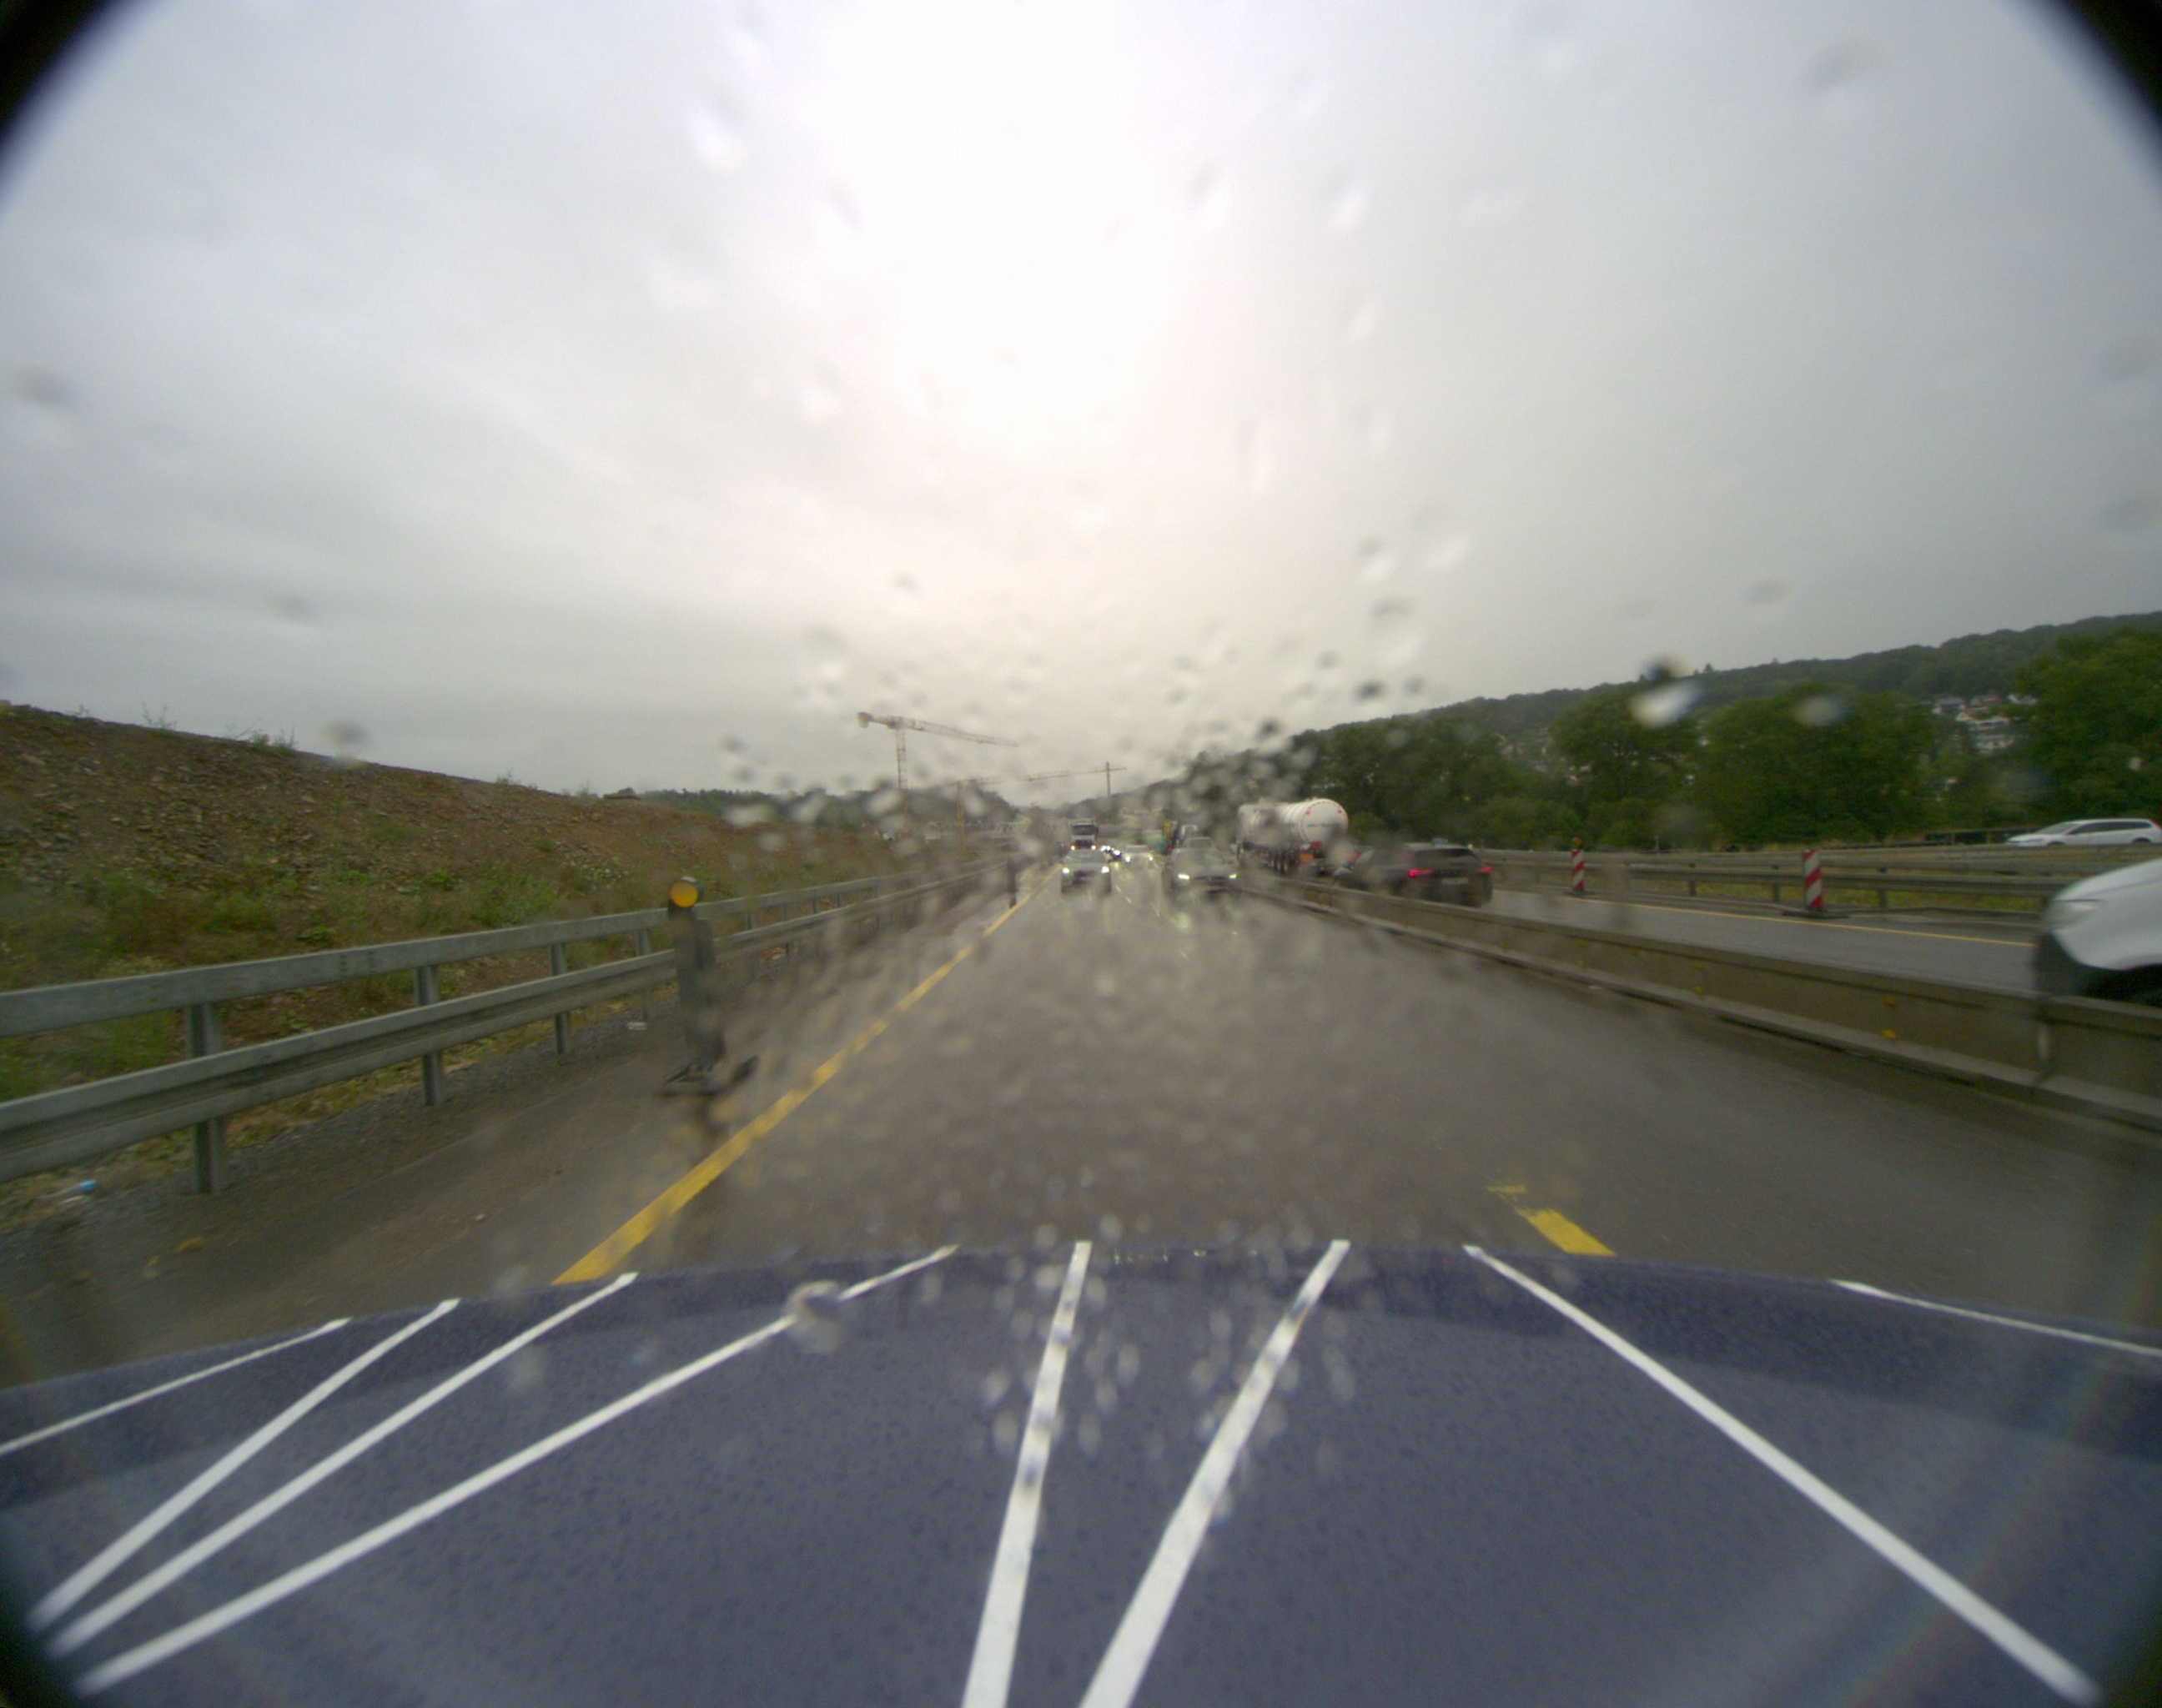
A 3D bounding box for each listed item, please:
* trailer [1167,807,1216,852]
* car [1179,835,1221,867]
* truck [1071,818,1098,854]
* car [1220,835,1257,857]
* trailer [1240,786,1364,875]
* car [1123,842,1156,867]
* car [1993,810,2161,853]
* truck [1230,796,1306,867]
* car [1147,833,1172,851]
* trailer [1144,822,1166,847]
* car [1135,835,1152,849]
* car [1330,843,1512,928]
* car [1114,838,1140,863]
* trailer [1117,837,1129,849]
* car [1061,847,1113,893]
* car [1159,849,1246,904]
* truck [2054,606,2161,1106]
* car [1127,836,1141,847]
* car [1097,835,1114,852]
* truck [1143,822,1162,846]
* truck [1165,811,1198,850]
[{"bbox_3d":[10.877,-2.390,76.419,2.756,4.019,15.355,-2,1,1],"label":"trailer"},{"bbox_3d":[7.129,-0.233,45.884,1.870,1.790,4.162,-2,1,0],"label":"car"},{"bbox_3d":[0.418,-1.821,77.503,2.575,3.451,6.625,-2,2,1],"label":"truck"},{"bbox_3d":[15.447,-0.781,74.846,2.071,2.051,4.838,-2,1,-8],"label":"car"},{"bbox_3d":[10.513,-1.117,37.803,2.627,3.657,12.000,-2,1,0],"label":"trailer"},{"bbox_3d":[3.672,0.020,48.244,1.781,1.430,4.483,-2,1,1],"label":"car"},{"bbox_3d":[44.195,-0.989,33.395,5.035,1.690,1.852,-1,2,17],"label":"car"},{"bbox_3d":[10.519,-1.252,43.385,2.627,3.657,6.593,-2,1,0],"label":"truck"},{"bbox_3d":[7.705,-1.194,75.324,1.998,1.749,4.687,-2,1,1],"label":"car"},{"bbox_3d":[11.979,-3.225,124.140,2.692,3.941,9.817,0,1,1],"label":"trailer"},{"bbox_3d":[7.993,-1.573,96.969,1.791,1.795,5.188,0,2,1],"label":"car"},{"bbox_3d":[6.937,0.547,16.127,1.777,1.496,4.678,-1,1,0],"label":"car"},{"bbox_3d":[3.858,-0.292,63.571,1.998,2.002,4.001,-1,1,5],"label":"car"},{"bbox_3d":[14.108,-3.724,255.330,3.285,3.886,13.698,-2,0,1],"label":"trailer"},{"bbox_3d":[0.253,0.539,28.976,1.781,1.514,4.139,-2,2,1],"label":"car"},{"bbox_3d":[3.496,0.593,22.741,1.951,1.430,4.483,-2,1,1],"label":"car"},{"bbox_3d":[6.560,0.049,1.326,2.084,2.561,5.960,-2,1,0],"label":"truck"},{"bbox_3d":[8.888,-2.074,128.031,1.879,1.783,5.358,-1,2,1],"label":"car"},{"bbox_3d":[3.105,-1.323,96.004,1.998,2.001,4.188,-2,-1,0],"label":"car"},{"bbox_3d":[12.034,-3.333,128.677,2.692,3.905,5.272,0,2,1],"label":"truck"},{"bbox_3d":[10.995,-2.565,83.654,2.756,4.039,6.146,-2,2,1],"label":"truck"}]
